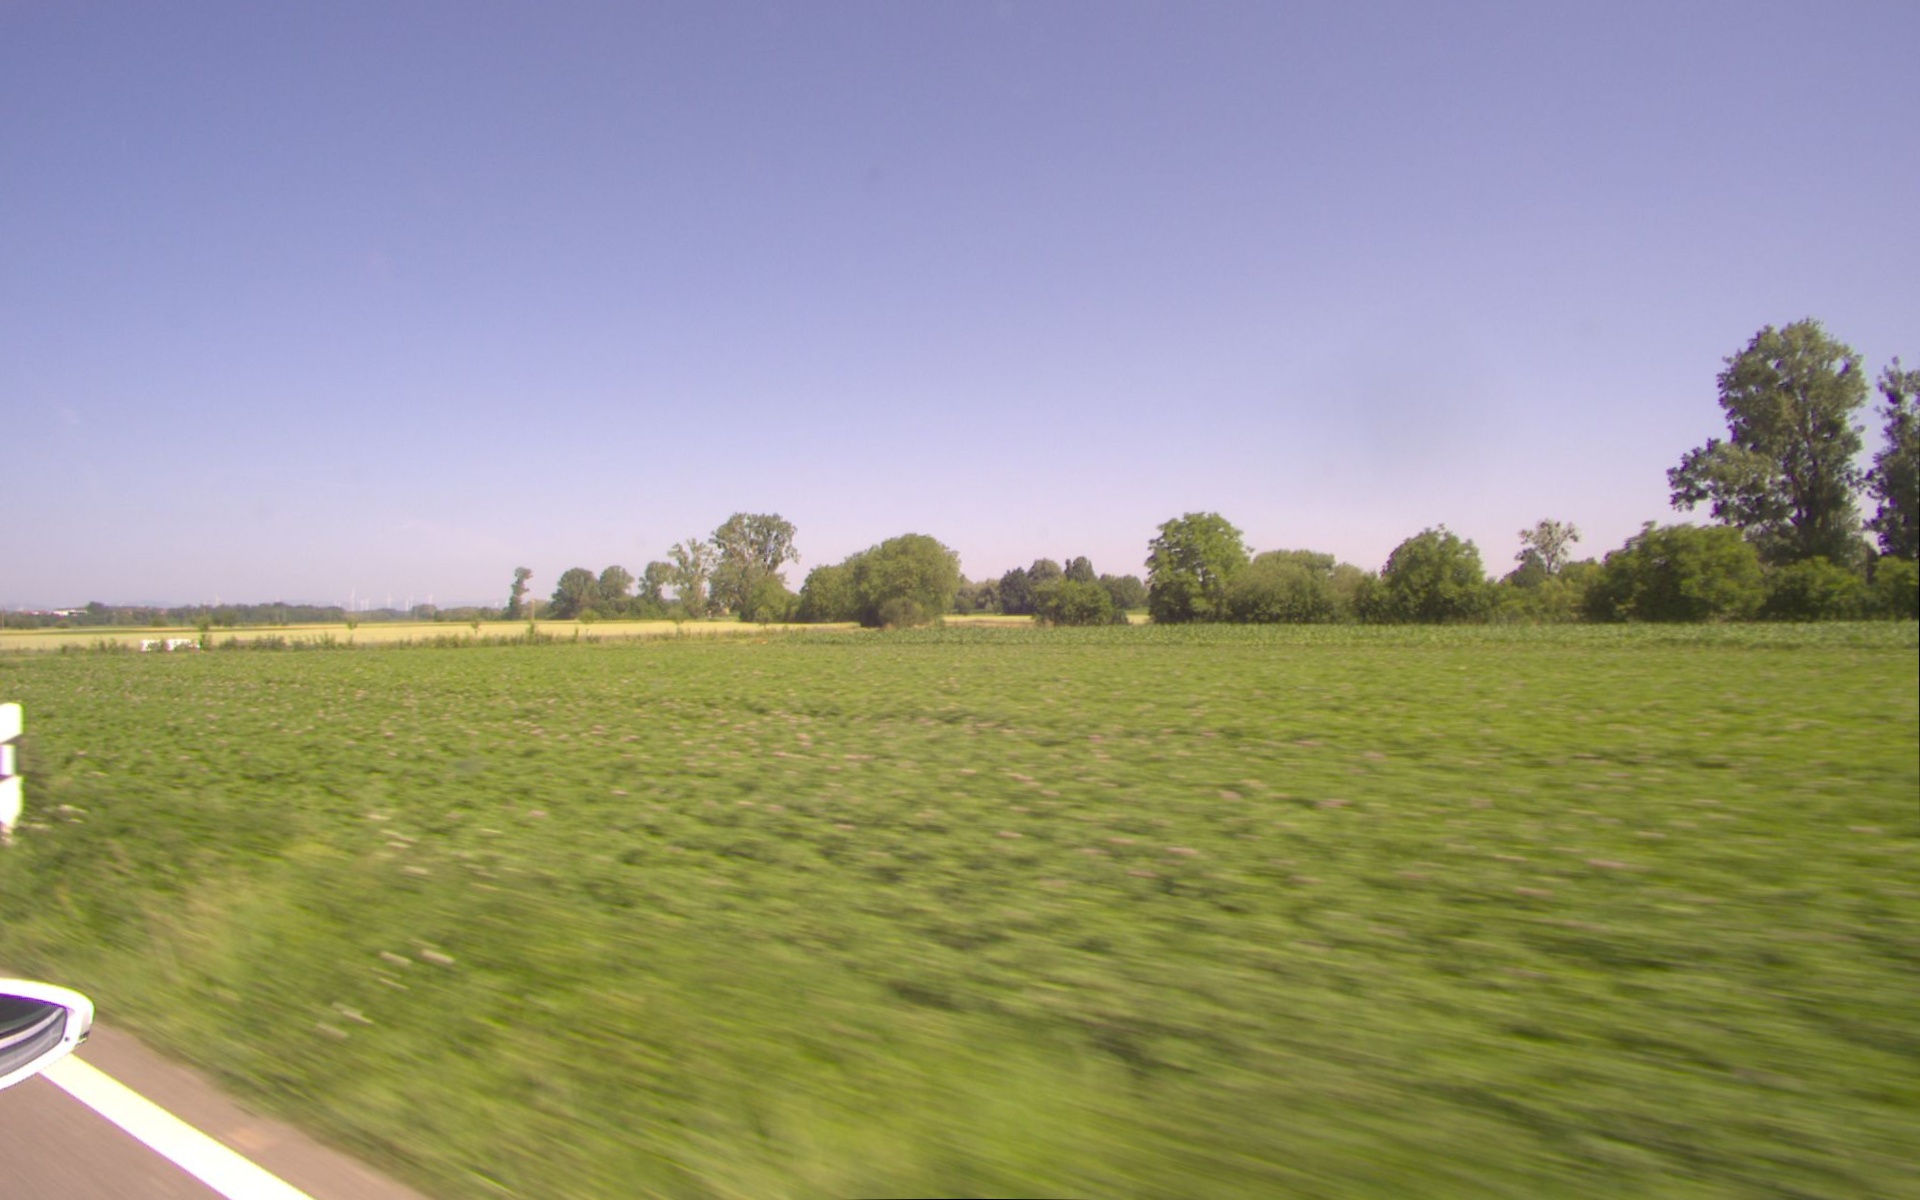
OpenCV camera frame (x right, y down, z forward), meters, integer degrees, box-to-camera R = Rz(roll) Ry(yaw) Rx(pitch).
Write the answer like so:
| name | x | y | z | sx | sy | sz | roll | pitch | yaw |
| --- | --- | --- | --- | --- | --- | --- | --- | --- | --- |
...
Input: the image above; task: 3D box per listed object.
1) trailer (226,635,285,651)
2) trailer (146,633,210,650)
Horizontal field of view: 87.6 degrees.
| name | x | y | z | sx | sy | sz | roll | pitch | yaw |
| --- | --- | --- | --- | --- | --- | --- | --- | --- | --- |
| trailer | -54.490 | 3.304 | 77.467 | 1.646 | 1.204 | 3.518 | -2 | -3 | 44 |
| trailer | -58.037 | 3.090 | 74.320 | 1.646 | 1.204 | 3.565 | -2 | -3 | 44 |
